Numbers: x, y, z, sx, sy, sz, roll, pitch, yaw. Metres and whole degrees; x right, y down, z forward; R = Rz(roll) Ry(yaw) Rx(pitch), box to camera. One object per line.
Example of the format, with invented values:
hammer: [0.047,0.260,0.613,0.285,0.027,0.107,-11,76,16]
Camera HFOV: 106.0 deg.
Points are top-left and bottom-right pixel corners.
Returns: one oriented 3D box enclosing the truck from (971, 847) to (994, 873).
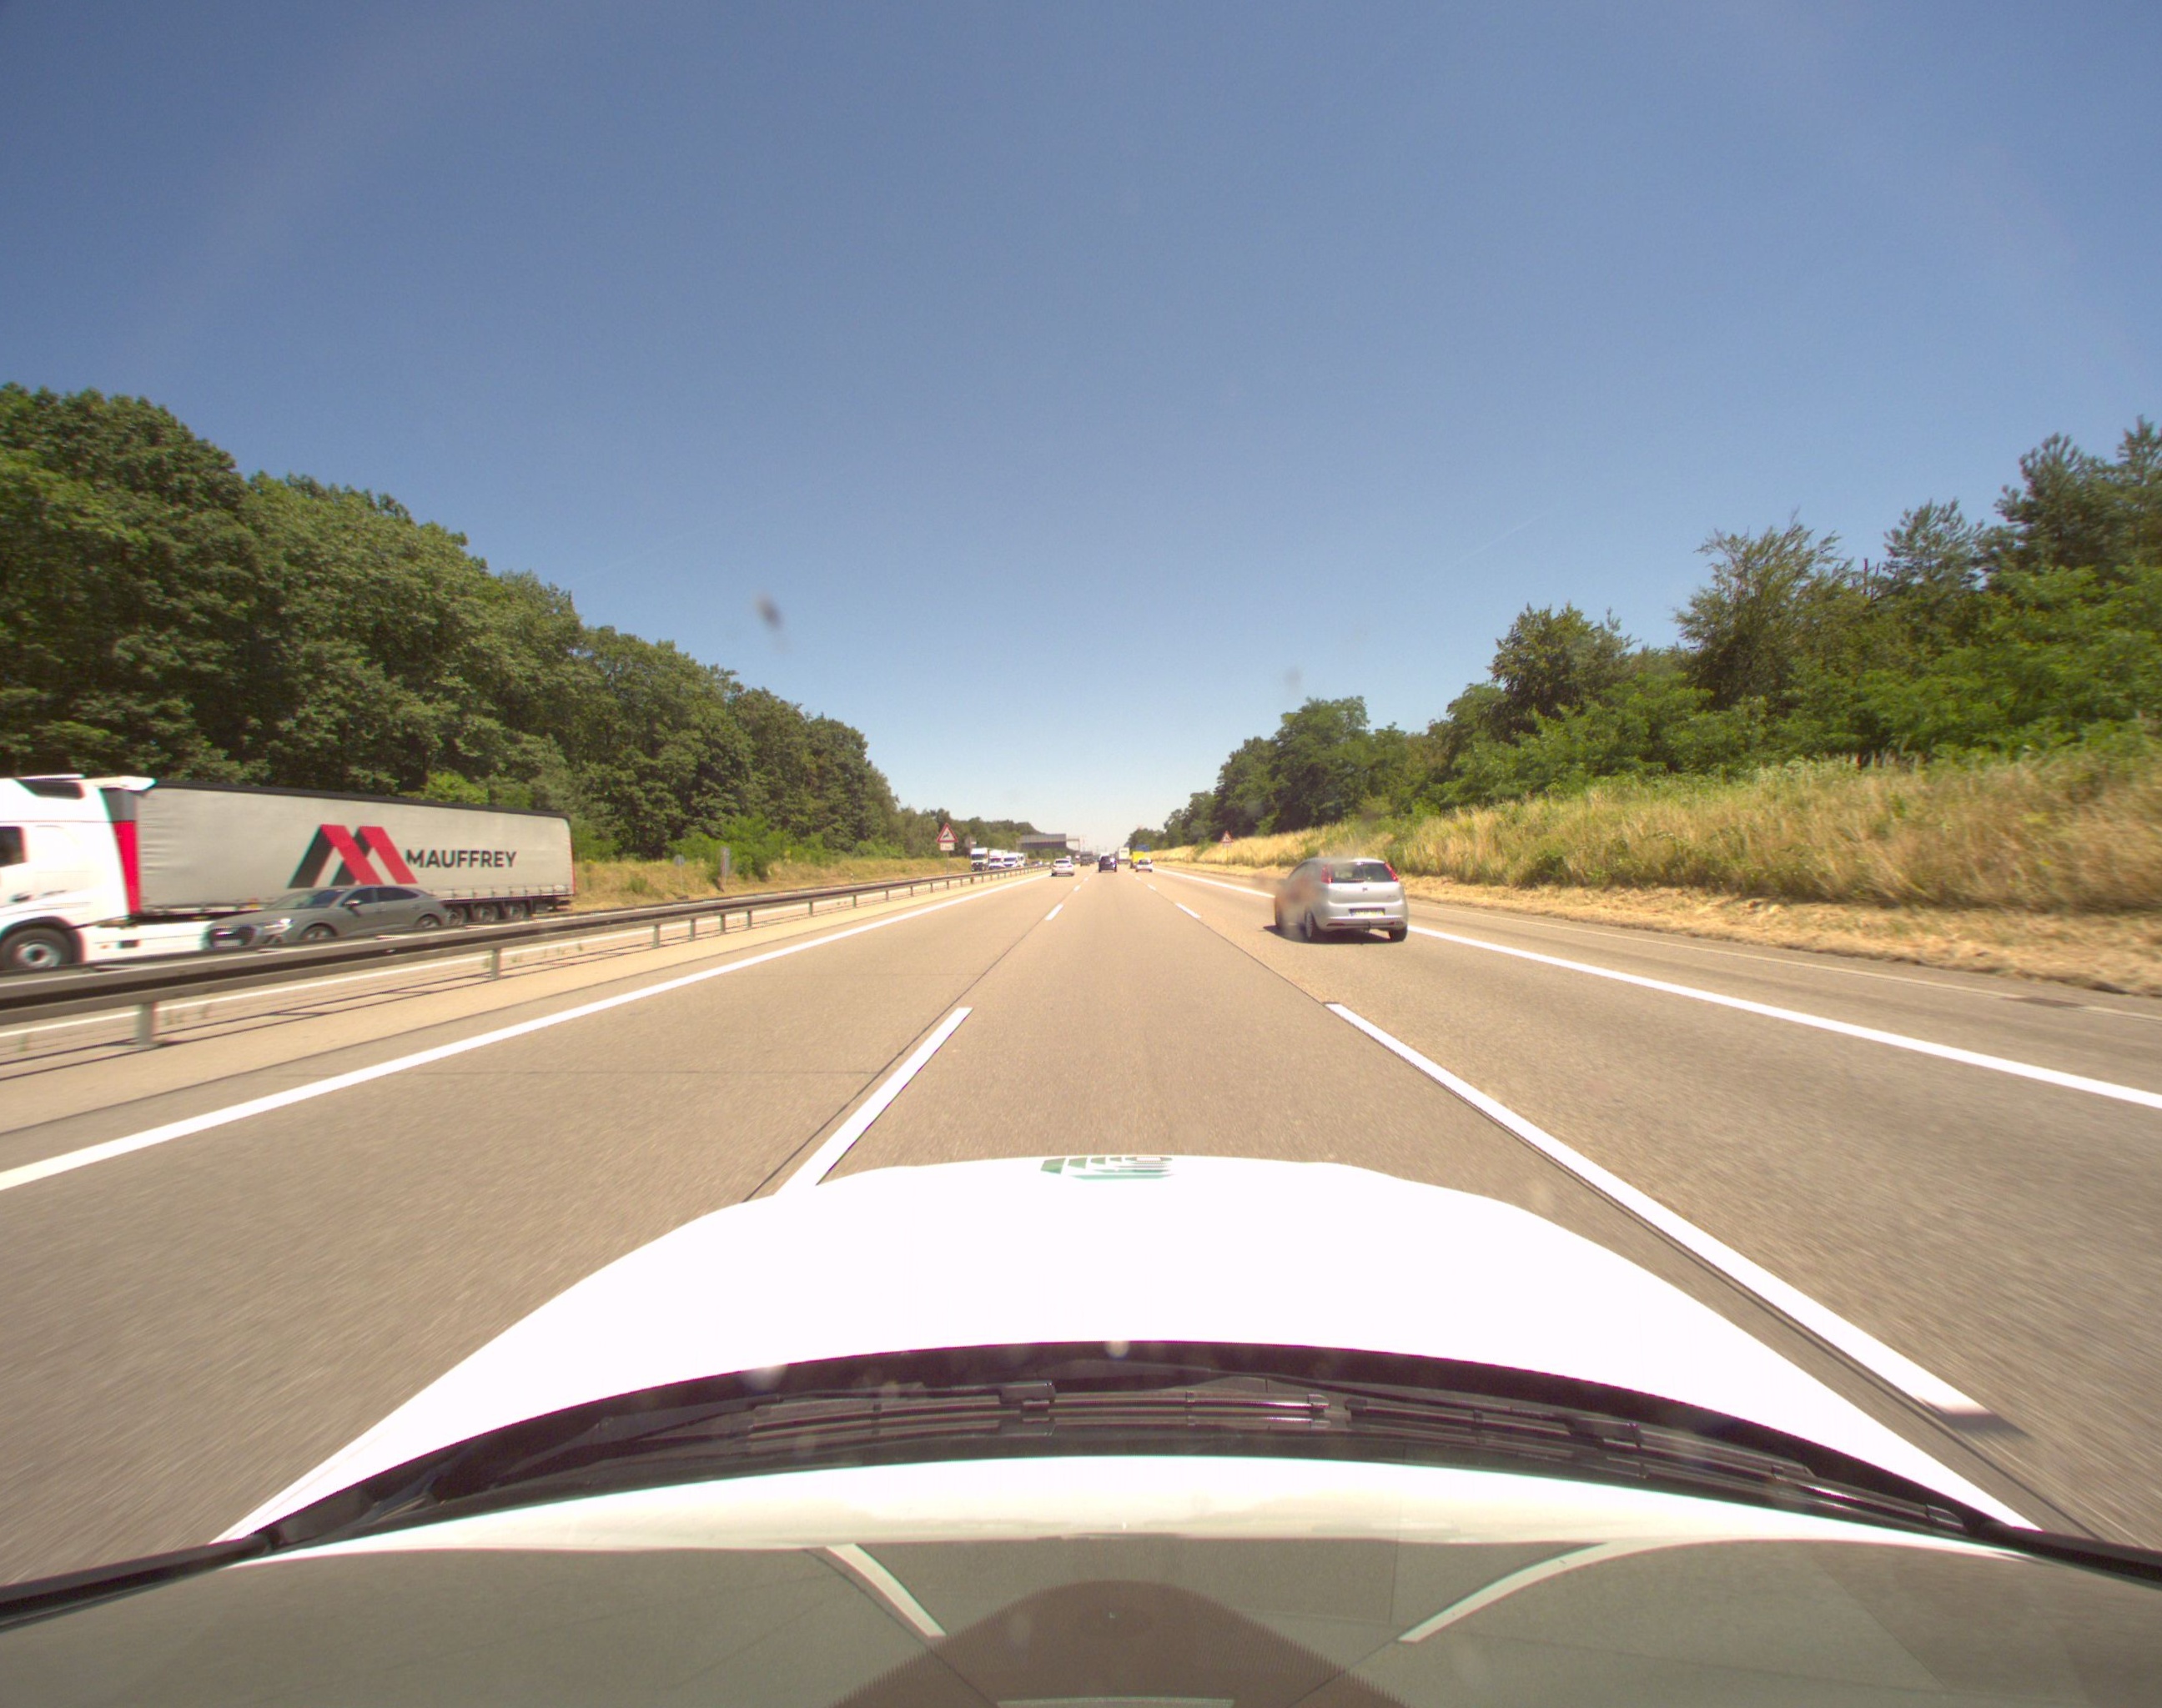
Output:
truck: [-16.370,0.934,135.693,2.496,4.014,6.127,-4,-1,2]

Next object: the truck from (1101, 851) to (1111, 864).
truck: [5.558,0.850,183.247,2.053,2.914,7.004,-2,-1,1]

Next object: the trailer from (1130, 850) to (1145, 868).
trailer: [7.580,0.649,109.450,1.697,2.290,3.840,-1,-1,1]

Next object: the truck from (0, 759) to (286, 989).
truck: [-20.704,0.456,16.722,2.802,4.119,5.677,-4,0,1]

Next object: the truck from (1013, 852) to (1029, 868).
truck: [-14.537,1.485,199.008,2.722,3.518,10.443,-4,0,1]

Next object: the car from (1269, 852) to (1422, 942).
car: [4.818,0.729,15.423,1.738,1.466,3.982,-1,0,2]

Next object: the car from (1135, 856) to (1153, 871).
car: [6.490,0.983,84.260,1.702,1.495,4.025,-1,-1,2]

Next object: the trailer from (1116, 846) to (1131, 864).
trailer: [10.490,0.210,199.893,3.274,4.219,13.567,0,-1,1]

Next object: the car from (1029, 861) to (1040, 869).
car: [-8.500,1.998,150.642,1.599,1.399,4.545,-4,0,1]

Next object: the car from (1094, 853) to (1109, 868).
car: [2.623,0.875,103.884,1.808,1.827,5.111,-2,-1,1]

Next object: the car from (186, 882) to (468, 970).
car: [-16.505,1.486,18.261,1.882,1.434,4.584,-4,0,2]

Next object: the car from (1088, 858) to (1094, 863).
car: [2.624,1.666,204.963,1.400,1.131,3.359,-1,-1,2]

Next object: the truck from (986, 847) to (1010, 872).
truck: [-13.158,0.849,129.455,2.448,3.606,8.123,-4,0,2]

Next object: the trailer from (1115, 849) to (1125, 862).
trailer: [11.902,0.428,251.242,2.673,3.837,12.012,0,-1,1]

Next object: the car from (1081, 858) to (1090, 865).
car: [0.787,1.409,154.919,1.601,1.300,3.675,-1,-1,2]

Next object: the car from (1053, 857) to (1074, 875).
car: [-1.467,0.996,69.742,1.663,1.401,3.713,-2,0,0]

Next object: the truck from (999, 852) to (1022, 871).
truck: [-10.180,1.070,117.802,2.075,2.623,8.035,-4,0,2]

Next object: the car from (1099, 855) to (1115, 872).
car: [2.740,1.003,85.388,1.620,1.755,3.806,-1,-1,2]

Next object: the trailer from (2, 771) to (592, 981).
trailer: [-20.519,0.478,24.027,2.802,4.119,14.551,-4,0,1]
